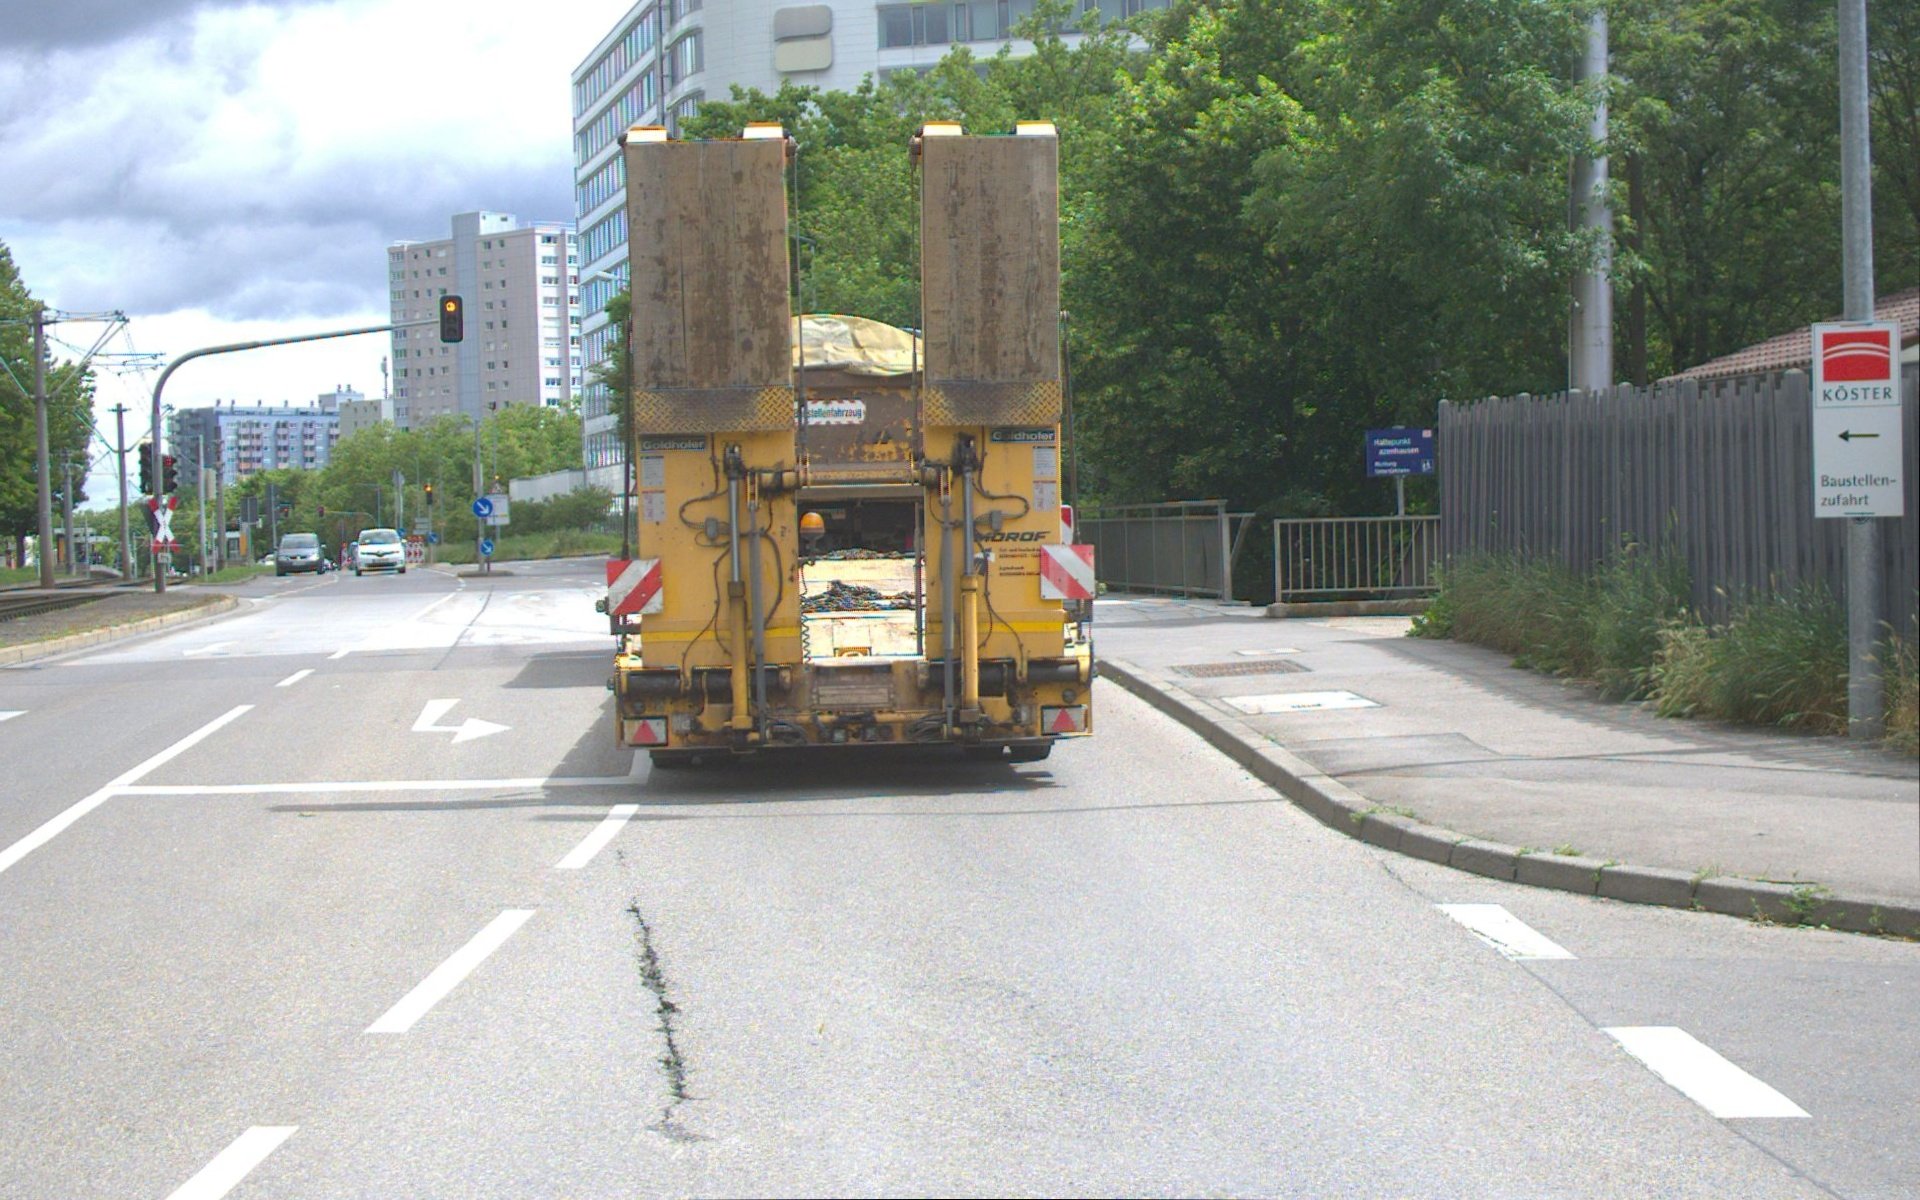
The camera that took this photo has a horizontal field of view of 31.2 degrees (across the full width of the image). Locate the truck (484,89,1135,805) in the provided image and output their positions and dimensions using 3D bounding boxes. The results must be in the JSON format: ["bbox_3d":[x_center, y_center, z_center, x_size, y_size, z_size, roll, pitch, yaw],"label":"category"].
[{"bbox_3d":[-1.196,-0.855,23.850,3.315,3.638,12.564,0,1,-4],"label":"truck"}]

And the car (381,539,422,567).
[{"bbox_3d":[-28.064,-2.359,172.742,1.993,1.415,4.001,0,1,-9],"label":"car"}]

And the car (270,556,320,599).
[{"bbox_3d":[-25.948,-0.881,134.249,1.783,1.564,4.346,-2,1,-10],"label":"car"}]

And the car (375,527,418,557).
[{"bbox_3d":[-26.689,-2.744,162.832,1.993,1.415,4.001,0,1,-9],"label":"car"}]

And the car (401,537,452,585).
[{"bbox_3d":[-21.767,-1.580,140.217,1.993,1.919,4.001,0,1,-9],"label":"car"}]

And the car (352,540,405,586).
[{"bbox_3d":[-19.877,-1.262,117.592,1.593,1.521,3.656,-2,1,-8],"label":"car"}]
